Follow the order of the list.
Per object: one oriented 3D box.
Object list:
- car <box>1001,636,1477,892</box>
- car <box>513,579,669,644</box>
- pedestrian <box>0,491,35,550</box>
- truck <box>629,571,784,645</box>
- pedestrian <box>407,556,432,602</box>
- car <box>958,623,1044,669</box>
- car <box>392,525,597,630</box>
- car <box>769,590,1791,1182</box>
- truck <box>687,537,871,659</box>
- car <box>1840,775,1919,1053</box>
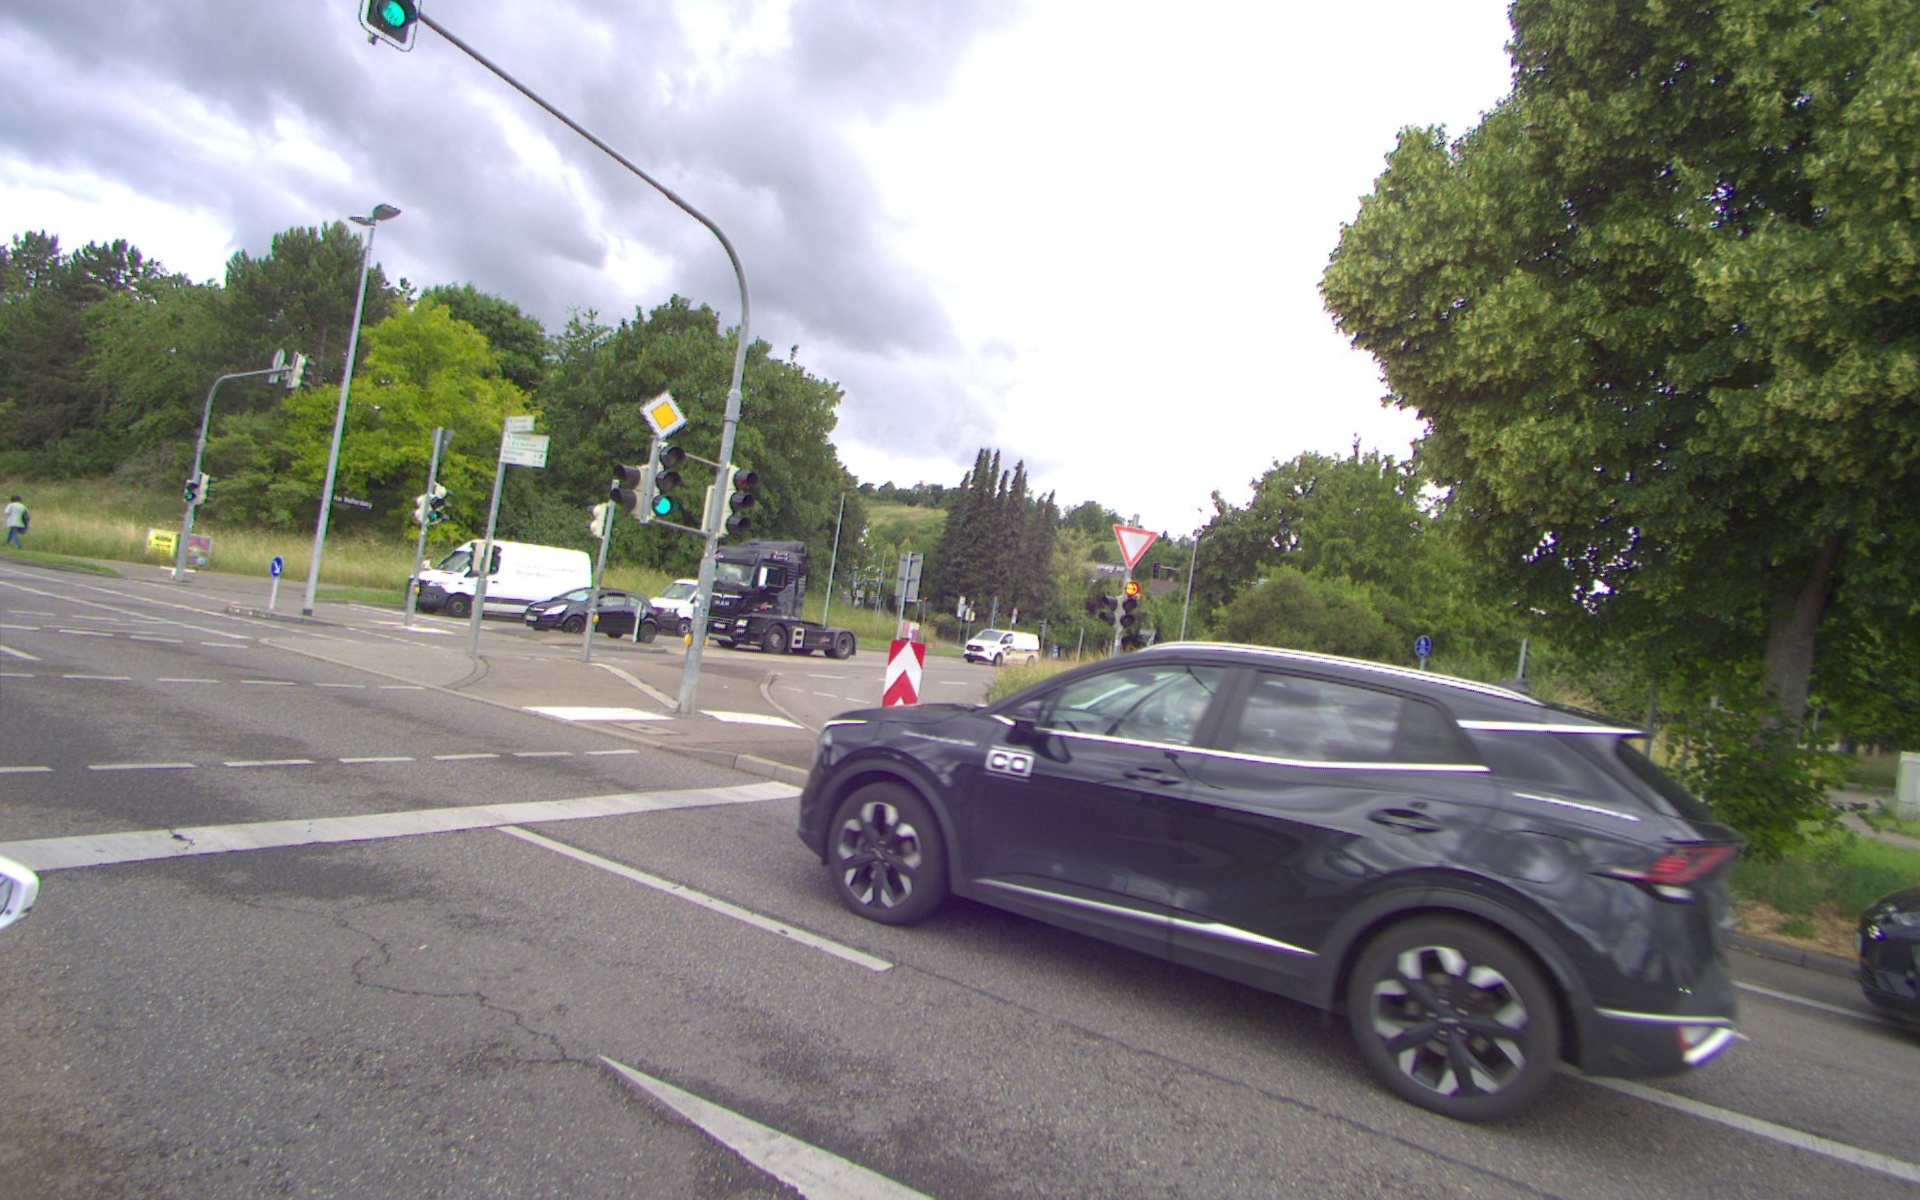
[{"bbox_3d":[2.570,1.488,10.249,1.752,1.673,4.325,10,-3,-37],"label":"car"},{"bbox_3d":[-10.529,0.381,28.931,1.669,1.353,3.882,6,-3,34],"label":"car"},{"bbox_3d":[-28.423,-2.391,30.231,0.703,1.681,0.644,6,-1,39],"label":"pedestrian"},{"bbox_3d":[-10.208,0.398,41.089,2.128,2.255,6.028,6,-2,35],"label":"truck"},{"bbox_3d":[-20.174,-0.771,37.560,0.639,1.630,0.709,8,-1,-28],"label":"pedestrian"},{"bbox_3d":[2.279,2.509,54.669,1.971,1.927,4.945,6,-3,39],"label":"car"},{"bbox_3d":[-15.336,-0.663,33.555,1.968,2.660,5.814,6,-2,34],"label":"car"},{"bbox_3d":[1.275,0.990,5.078,4.149,1.547,1.797,6,-2,32],"label":"car"},{"bbox_3d":[-6.199,0.038,35.371,2.648,3.527,6.004,6,-1,34],"label":"truck"},{"bbox_3d":[7.168,2.037,5.359,3.511,1.521,1.605,6,-5,38],"label":"car"}]
